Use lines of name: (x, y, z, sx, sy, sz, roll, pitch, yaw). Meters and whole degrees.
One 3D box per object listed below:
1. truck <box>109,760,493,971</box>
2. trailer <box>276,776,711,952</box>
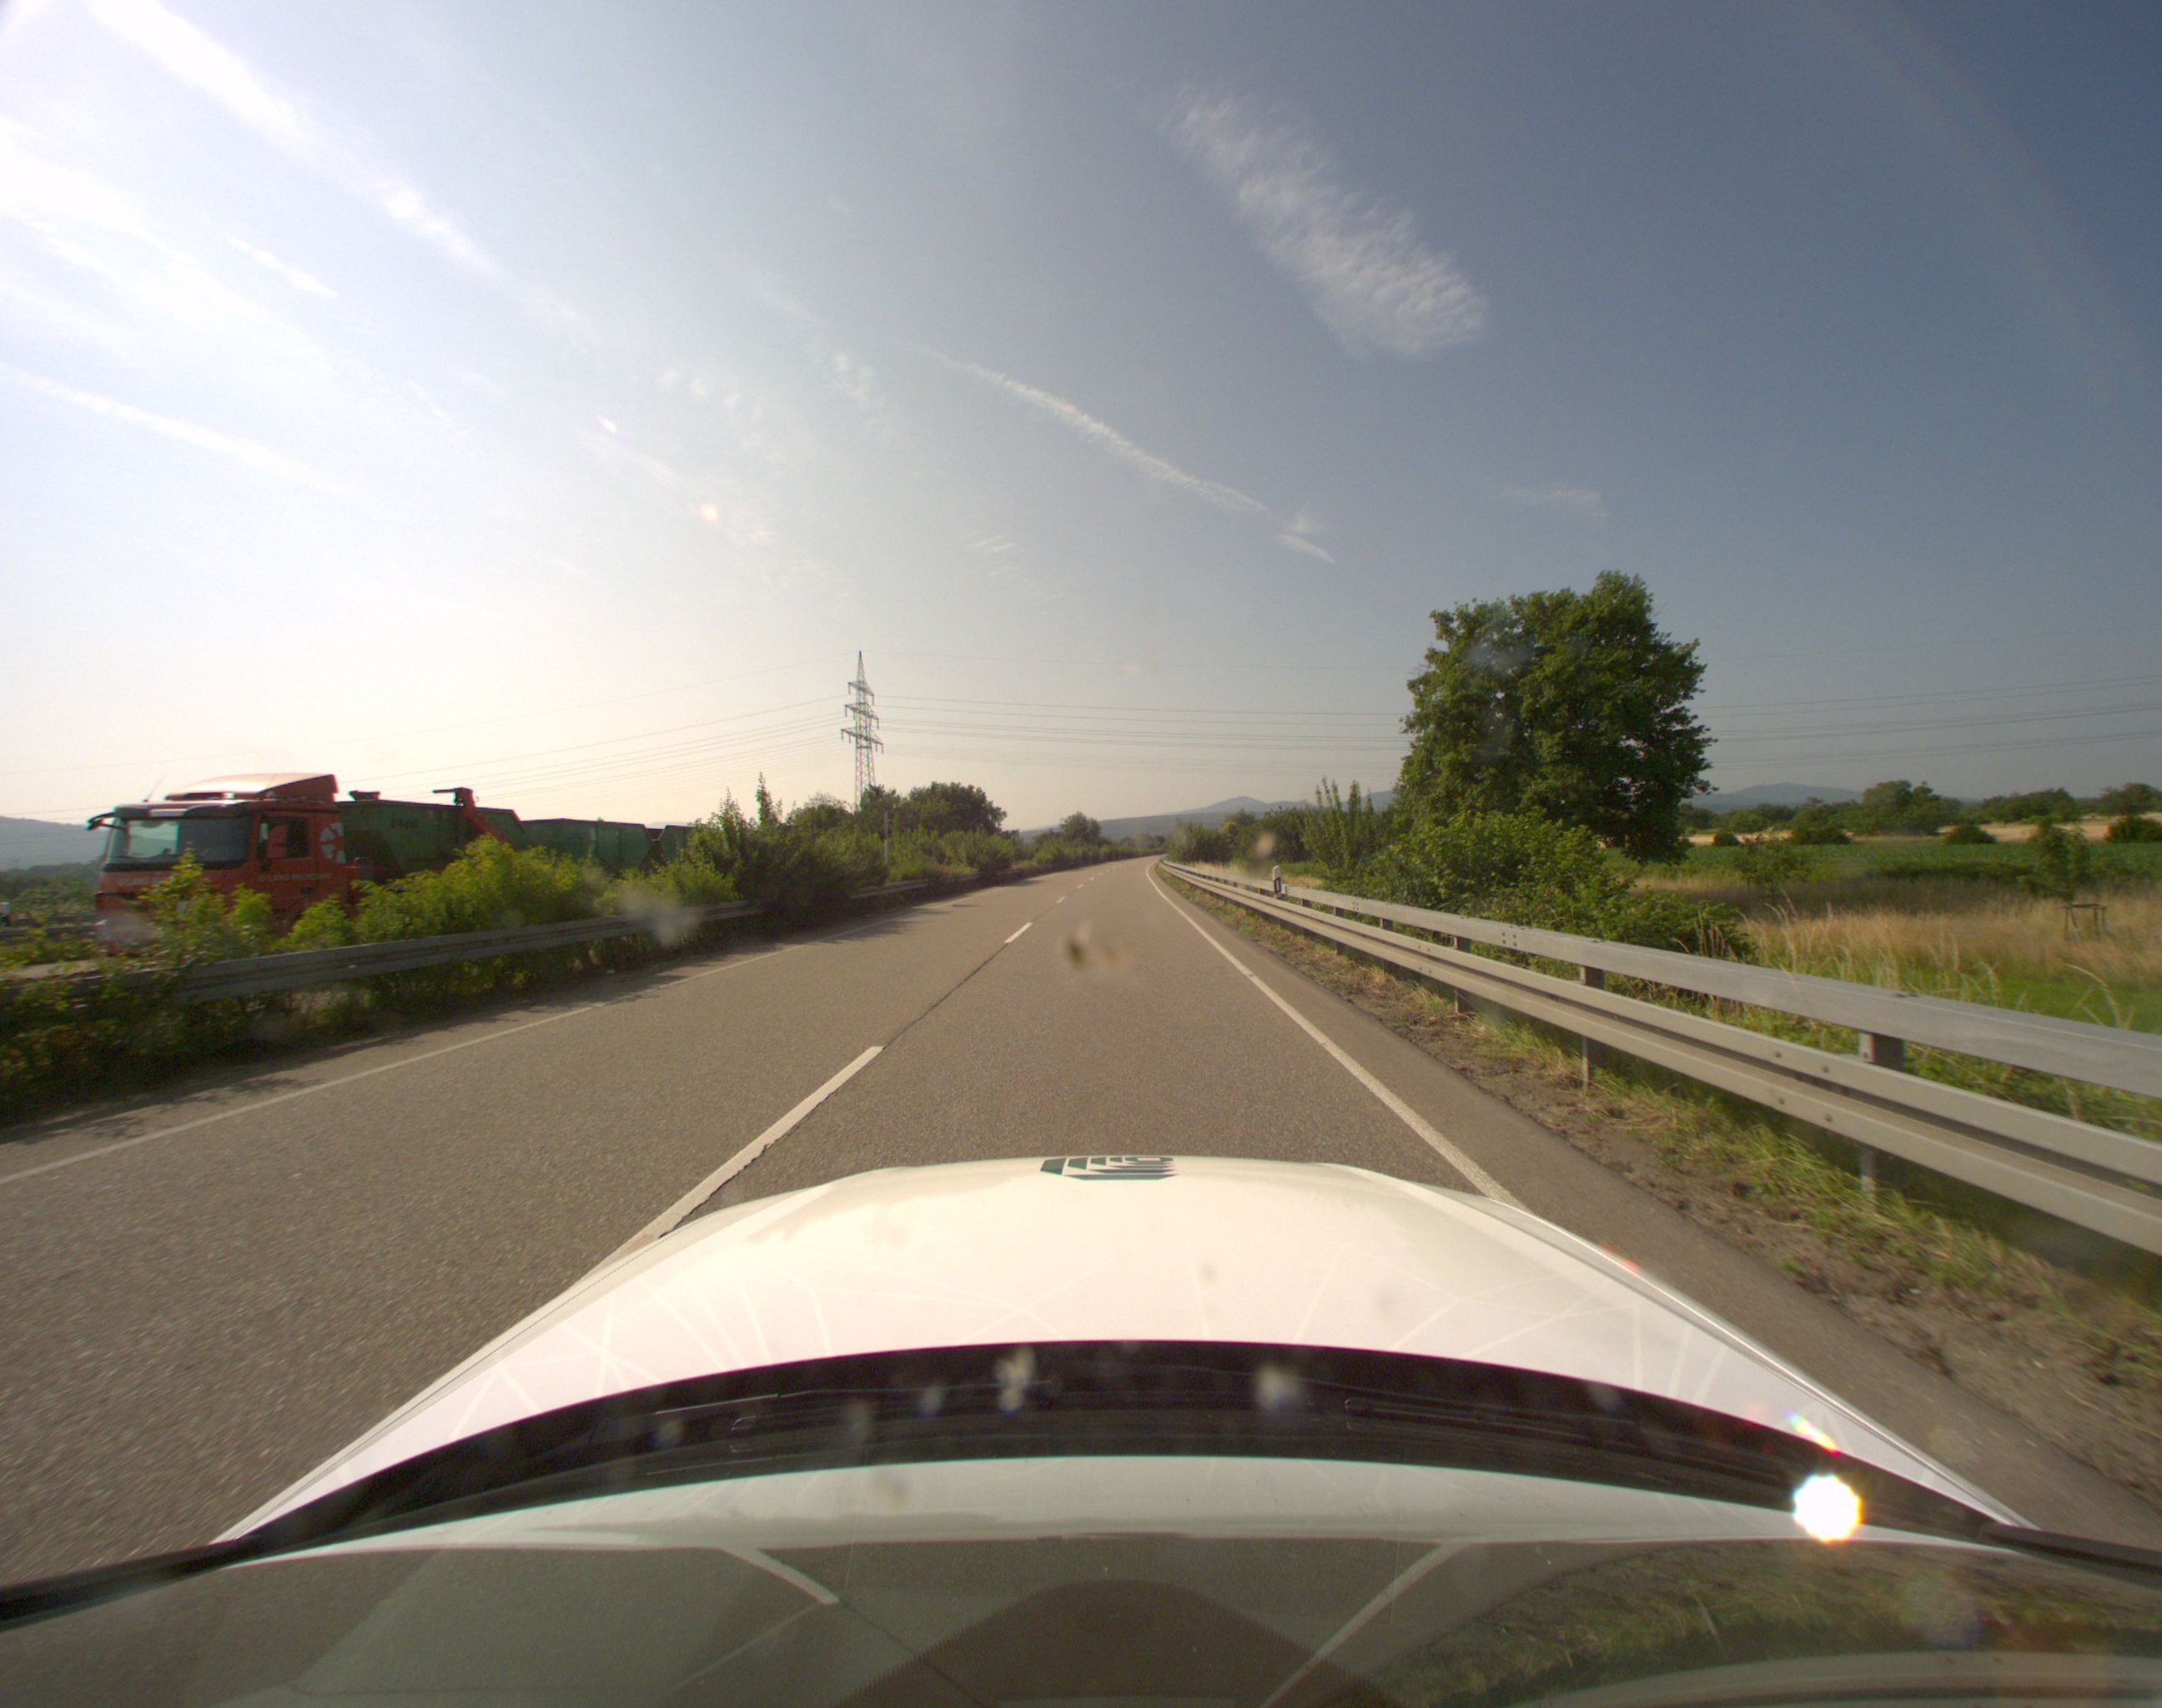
truck: (-14.621, 0.195, 15.959, 1.986, 3.376, 5.630, -1, 0, 1)
trailer: (-14.475, 0.223, 22.525, 1.986, 3.375, 13.430, -1, 0, 1)
